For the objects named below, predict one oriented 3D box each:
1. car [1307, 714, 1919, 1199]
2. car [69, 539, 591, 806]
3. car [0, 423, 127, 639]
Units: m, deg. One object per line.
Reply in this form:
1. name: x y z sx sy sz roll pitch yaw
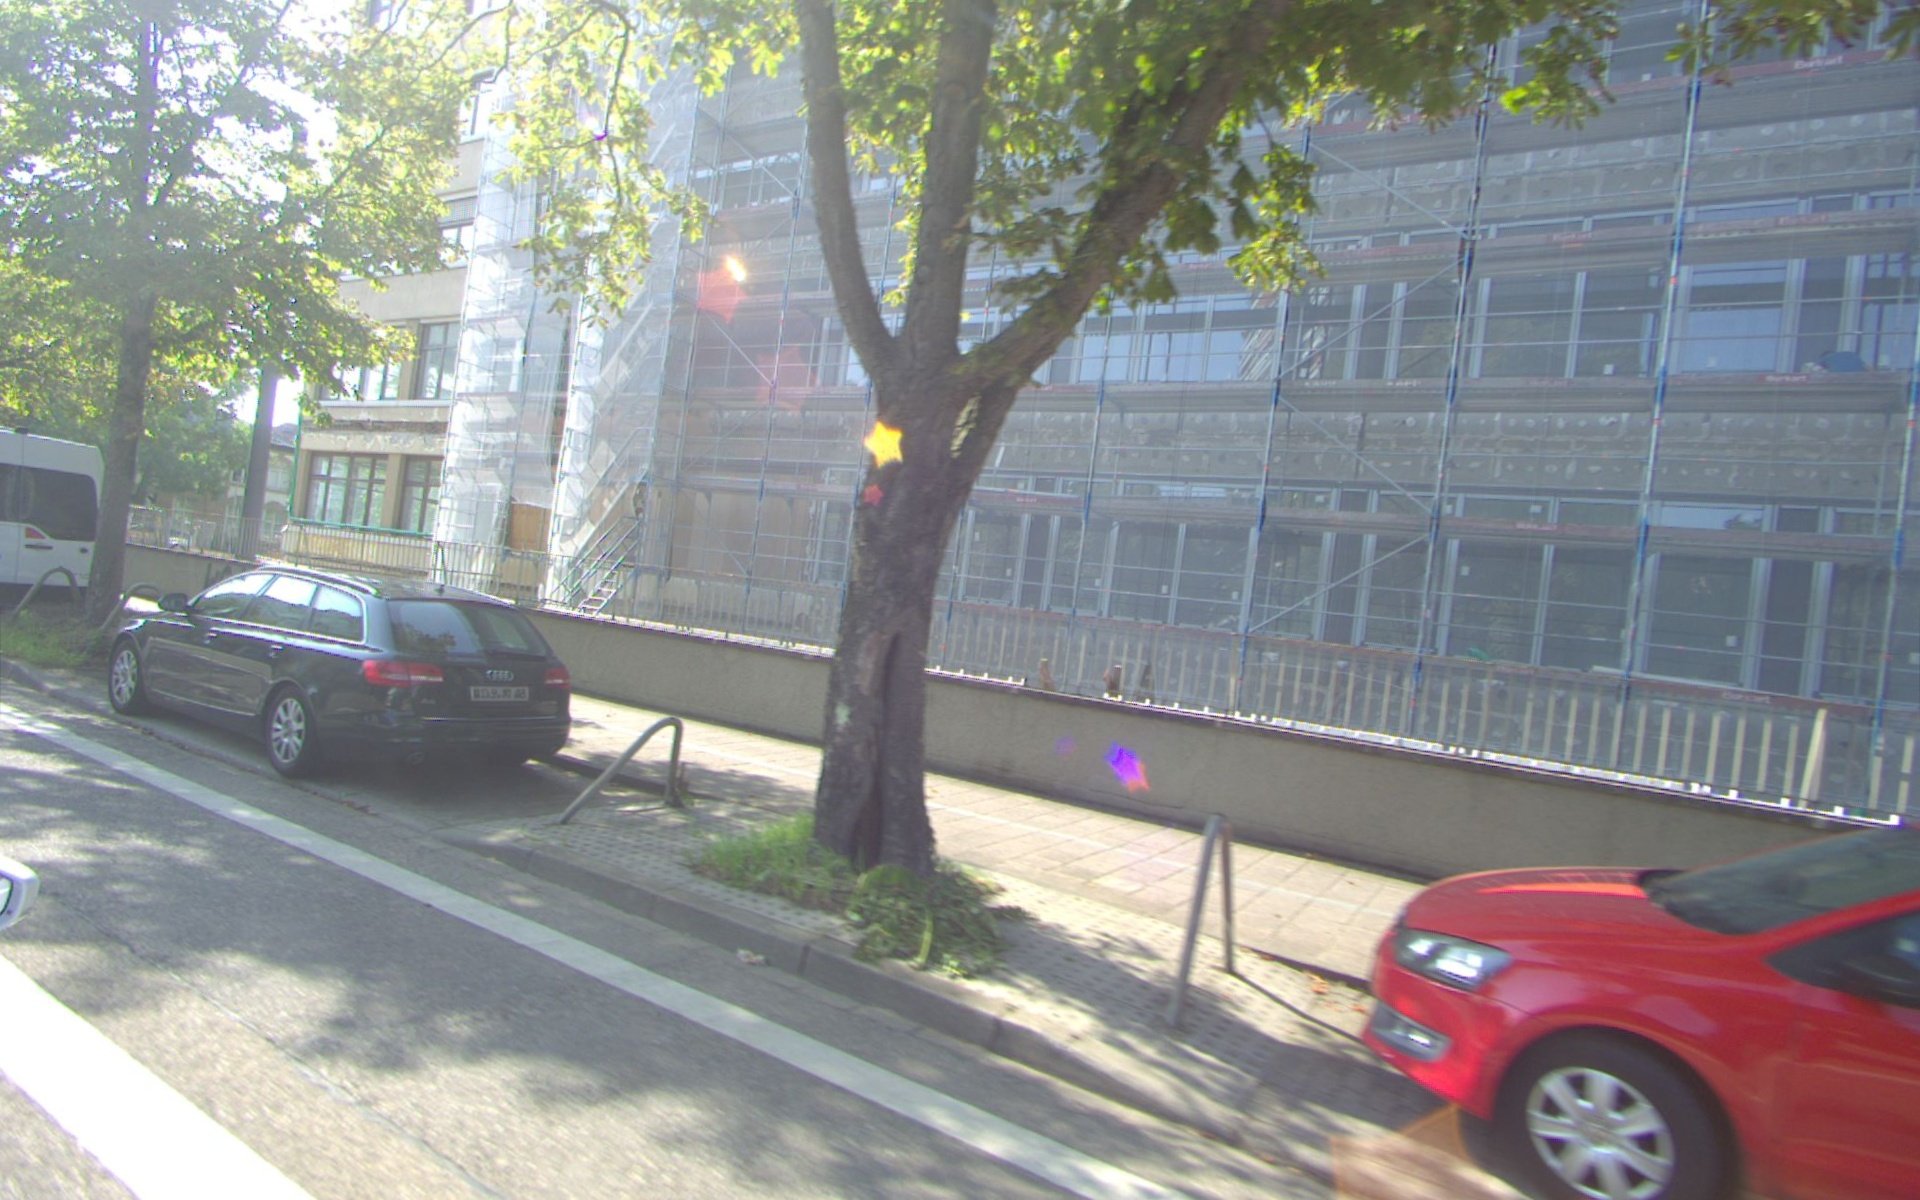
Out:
1. car: 3.413 1.402 3.308 3.933 1.430 1.619 6 -1 31
2. car: -5.327 0.447 8.274 4.747 1.391 1.619 6 -1 32
3. car: -13.766 -1.072 13.537 5.408 2.586 2.084 7 2 30
